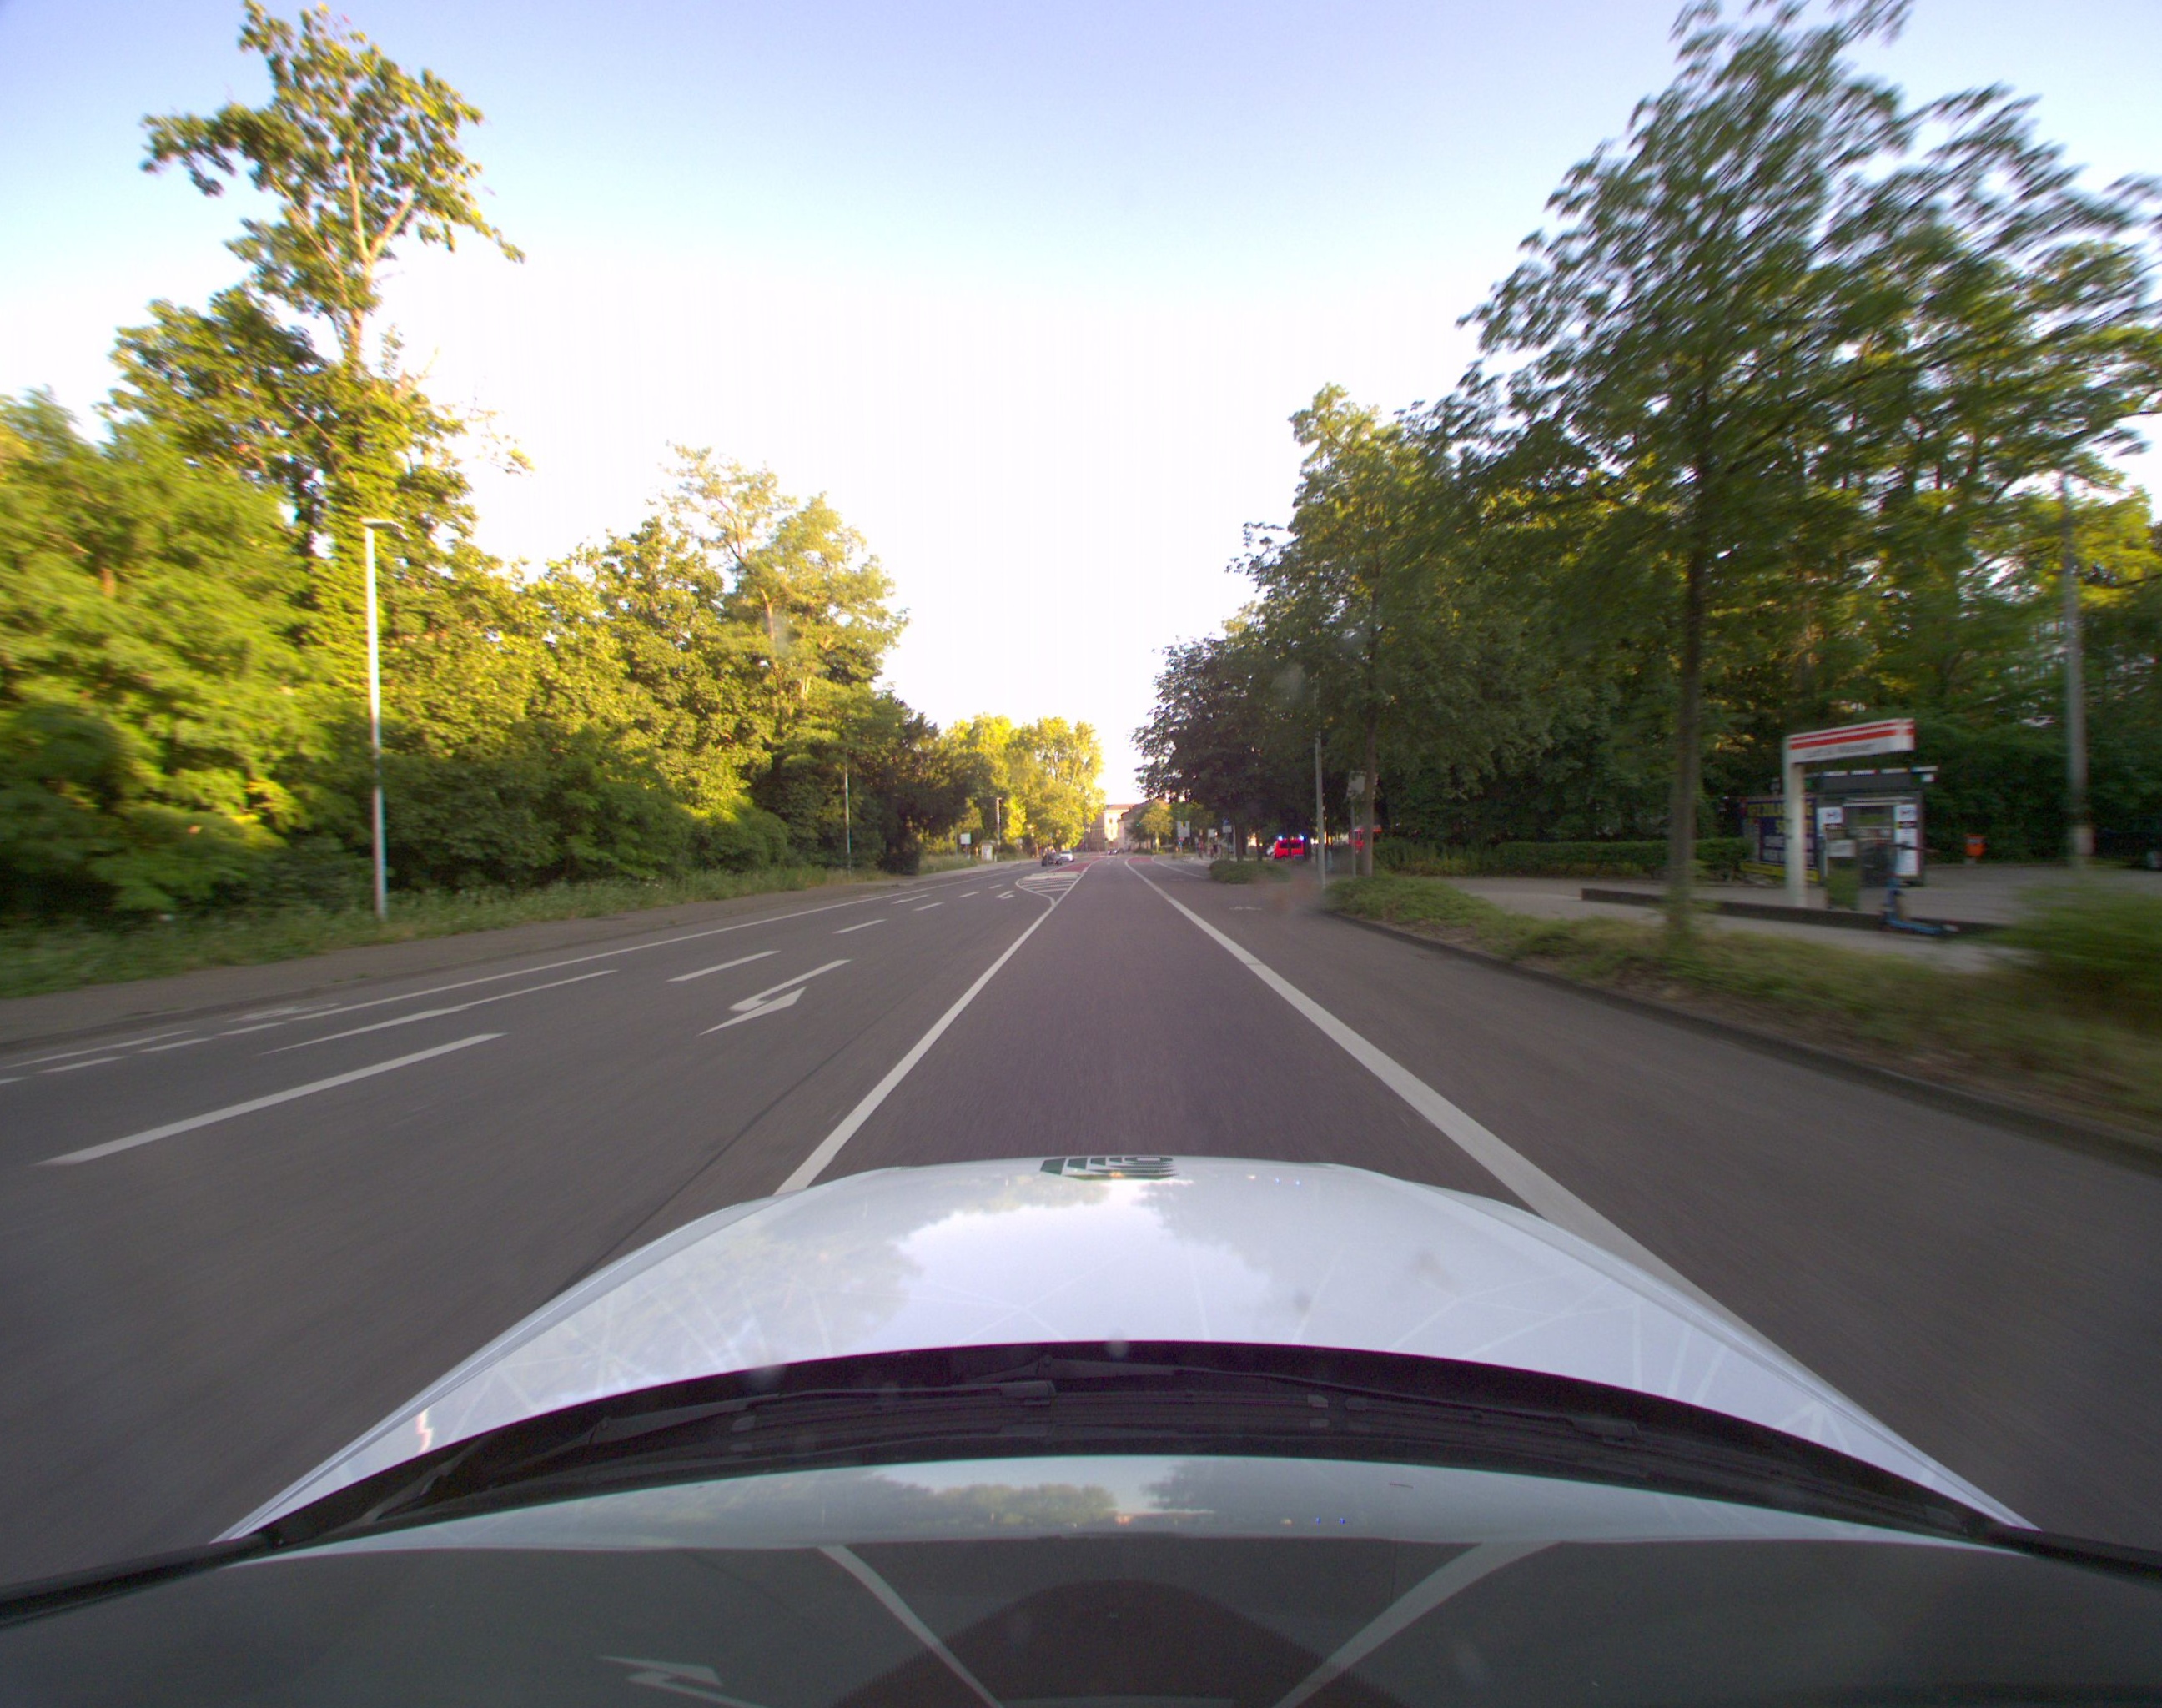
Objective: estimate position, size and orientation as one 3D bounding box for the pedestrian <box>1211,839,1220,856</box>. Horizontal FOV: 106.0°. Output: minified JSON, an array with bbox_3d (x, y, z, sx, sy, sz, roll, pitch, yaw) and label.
[{"bbox_3d":[13.697,-0.688,82.888,0.766,1.740,0.732,-2,0,2],"label":"pedestrian"}]

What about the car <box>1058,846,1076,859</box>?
[{"bbox_3d":[-1.661,-0.217,100.018,1.789,1.453,4.132,-2,0,4],"label":"car"}]

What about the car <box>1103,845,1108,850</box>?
[{"bbox_3d":[7.011,-1.794,231.529,1.487,1.486,3.493,-2,0,3],"label":"car"}]

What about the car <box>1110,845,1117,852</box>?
[{"bbox_3d":[7.044,-1.111,176.062,1.487,1.486,3.493,-2,0,3],"label":"car"}]

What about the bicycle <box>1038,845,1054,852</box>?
[{"bbox_3d":[-5.576,-0.889,130.475,2.446,1.195,0.759,-2,0,11],"label":"bicycle"}]

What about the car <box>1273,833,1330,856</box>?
[{"bbox_3d":[20.407,-0.873,75.403,4.881,1.990,1.927,-2,0,9],"label":"car"}]

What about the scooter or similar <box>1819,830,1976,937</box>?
[{"bbox_3d":[10.604,0.352,10.644,0.595,1.282,1.469,-2,0,2],"label":"scooter or similar"}]

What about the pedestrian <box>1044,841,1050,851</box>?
[{"bbox_3d":[-5.376,-1.308,130.438,0.786,1.580,0.748,0,1,11],"label":"pedestrian"}]

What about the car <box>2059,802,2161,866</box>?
[{"bbox_3d":[31.380,-0.625,23.728,1.870,1.637,4.310,-4,2,23],"label":"car"}]

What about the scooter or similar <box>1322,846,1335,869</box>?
[{"bbox_3d":[11.431,0.175,37.686,0.309,1.041,0.981,-2,0,2],"label":"scooter or similar"}]

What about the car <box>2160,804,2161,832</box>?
[{"bbox_3d":[34.117,-0.711,22.979,1.904,1.707,4.718,-4,0,16],"label":"car"}]

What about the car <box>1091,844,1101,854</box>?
[{"bbox_3d":[2.476,-0.799,131.059,1.487,1.486,3.493,-2,1,3],"label":"car"}]

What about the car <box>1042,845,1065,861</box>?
[{"bbox_3d":[-2.743,-0.115,81.253,1.789,1.453,4.132,-2,0,4],"label":"car"}]

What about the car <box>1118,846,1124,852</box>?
[{"bbox_3d":[10.724,-1.416,218.528,1.487,1.486,3.493,-2,0,3],"label":"car"}]

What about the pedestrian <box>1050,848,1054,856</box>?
[{"bbox_3d":[-4.775,-0.317,135.217,0.579,1.429,0.559,0,1,-7],"label":"pedestrian"}]

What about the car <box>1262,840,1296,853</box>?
[{"bbox_3d":[27.408,-1.044,112.794,4.433,1.590,1.720,-2,0,9],"label":"car"}]

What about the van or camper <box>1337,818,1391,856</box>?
[{"bbox_3d":[24.984,-1.509,72.315,3.415,3.199,8.259,1,1,12],"label":"van or camper"}]

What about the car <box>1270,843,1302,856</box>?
[{"bbox_3d":[26.169,-0.616,104.032,3.751,1.590,1.720,-2,0,9],"label":"car"}]
